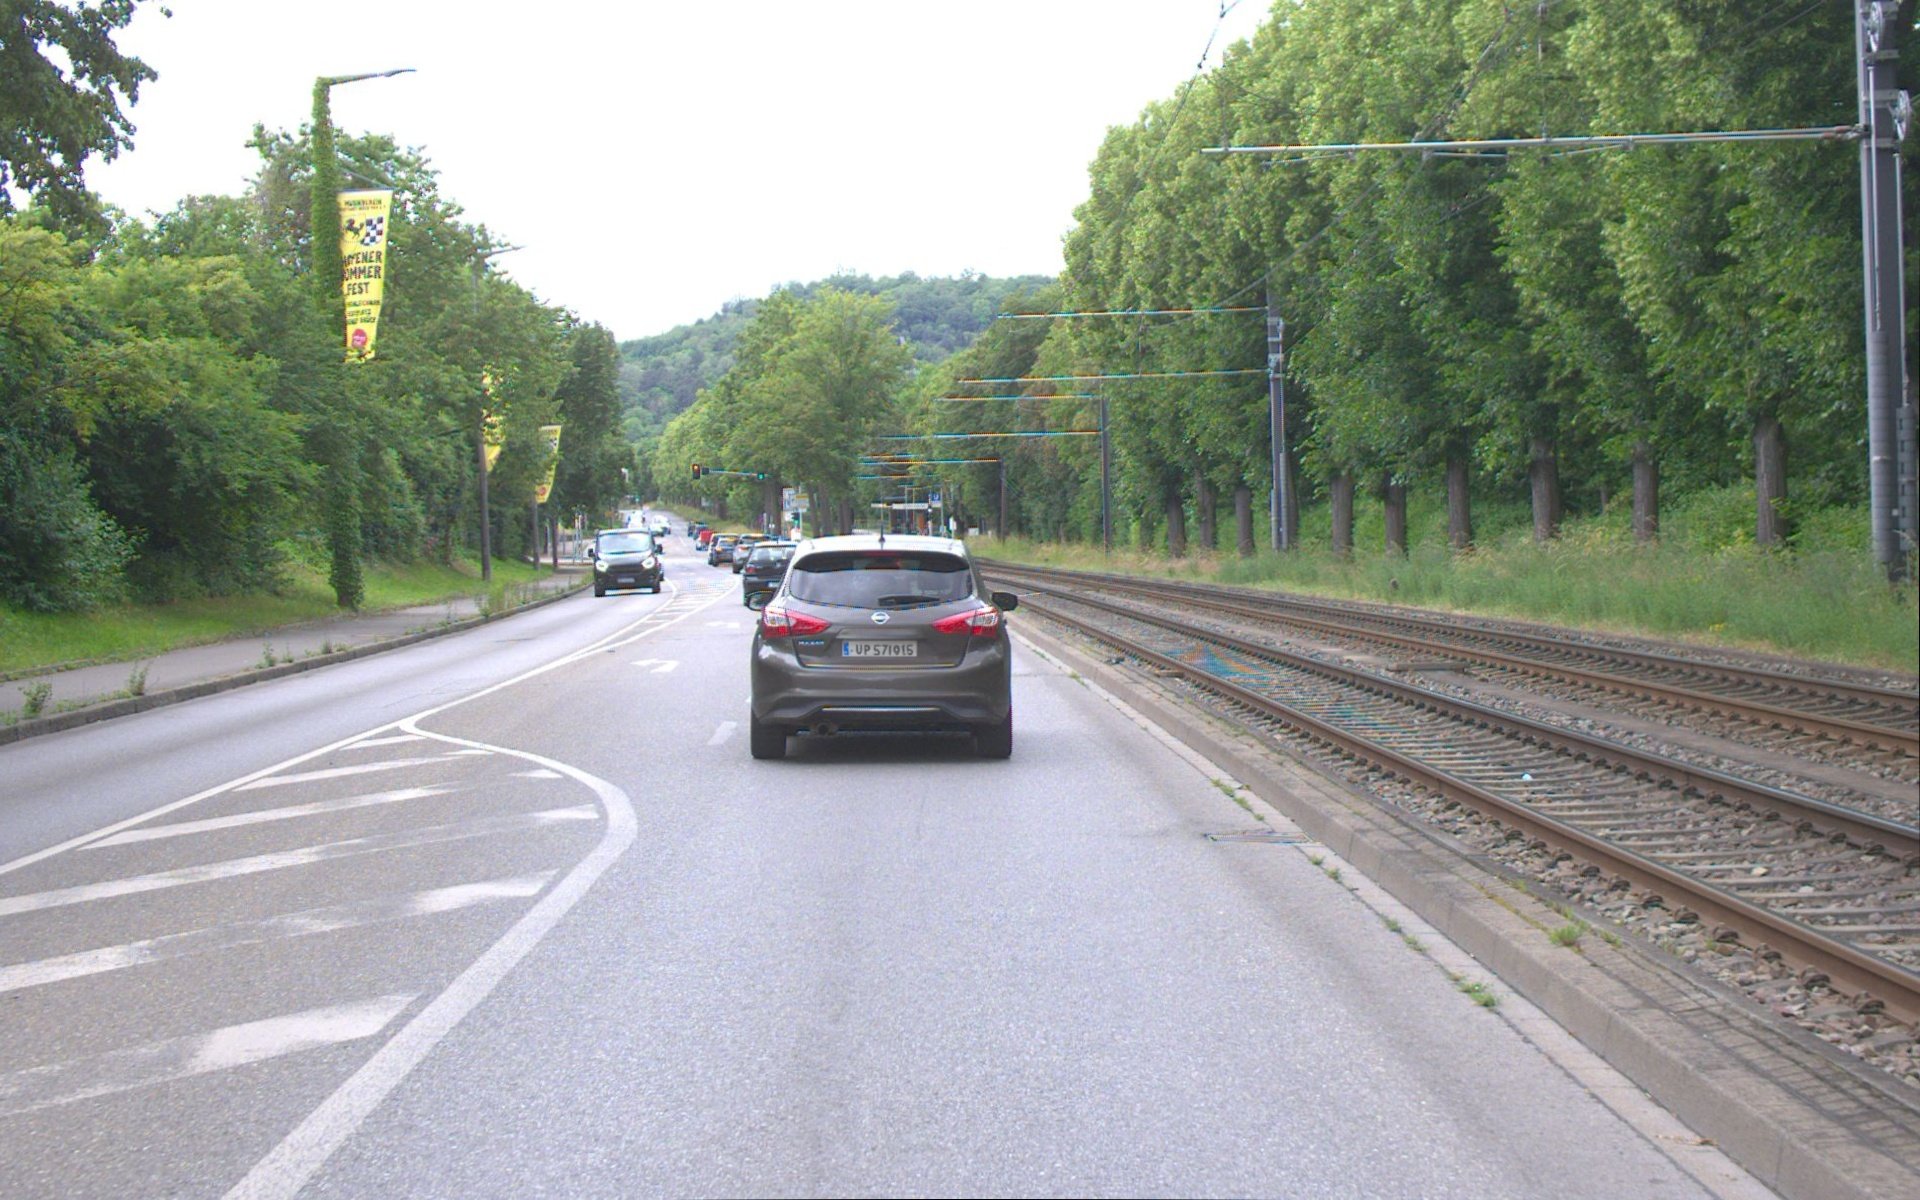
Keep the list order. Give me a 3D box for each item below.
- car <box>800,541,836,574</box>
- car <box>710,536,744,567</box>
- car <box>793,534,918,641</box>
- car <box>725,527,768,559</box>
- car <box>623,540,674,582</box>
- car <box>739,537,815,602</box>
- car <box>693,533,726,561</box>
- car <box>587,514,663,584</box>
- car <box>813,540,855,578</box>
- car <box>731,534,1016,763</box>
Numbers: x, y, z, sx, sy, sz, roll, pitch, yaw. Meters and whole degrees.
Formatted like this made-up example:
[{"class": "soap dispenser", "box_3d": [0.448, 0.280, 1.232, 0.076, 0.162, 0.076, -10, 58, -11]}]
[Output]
[{"class": "car", "box_3d": [-6.784, -2.002, 164.346, 1.715, 1.545, 4.000, 0, 0, -2]}, {"class": "car", "box_3d": [-13.324, -2.788, 197.070, 1.699, 1.708, 4.000, 0, 1, -1]}, {"class": "car", "box_3d": [-1.478, -0.208, 48.668, 1.699, 1.438, 4.000, 0, 1, -2]}, {"class": "car", "box_3d": [-9.942, -2.661, 160.260, 1.794, 1.505, 4.000, 0, 1, -1]}, {"class": "car", "box_3d": [-12.699, -1.613, 140.215, 1.841, 1.615, 4.160, -3, 1, -3]}, {"class": "car", "box_3d": [-4.179, -0.711, 78.922, 1.699, 1.438, 4.001, 0, 1, -2]}, {"class": "car", "box_3d": [-15.083, -3.197, 206.911, 1.699, 1.708, 4.000, 0, 1, -1]}, {"class": "car", "box_3d": [-10.302, -1.582, 106.045, 1.993, 2.029, 5.117, -3, 1, -3]}, {"class": "car", "box_3d": [-5.208, -1.697, 141.955, 1.715, 1.545, 4.000, 0, 0, -2]}, {"class": "car", "box_3d": [-0.571, 0.281, 24.370, 1.850, 1.488, 4.000, 0, 1, 0]}]
